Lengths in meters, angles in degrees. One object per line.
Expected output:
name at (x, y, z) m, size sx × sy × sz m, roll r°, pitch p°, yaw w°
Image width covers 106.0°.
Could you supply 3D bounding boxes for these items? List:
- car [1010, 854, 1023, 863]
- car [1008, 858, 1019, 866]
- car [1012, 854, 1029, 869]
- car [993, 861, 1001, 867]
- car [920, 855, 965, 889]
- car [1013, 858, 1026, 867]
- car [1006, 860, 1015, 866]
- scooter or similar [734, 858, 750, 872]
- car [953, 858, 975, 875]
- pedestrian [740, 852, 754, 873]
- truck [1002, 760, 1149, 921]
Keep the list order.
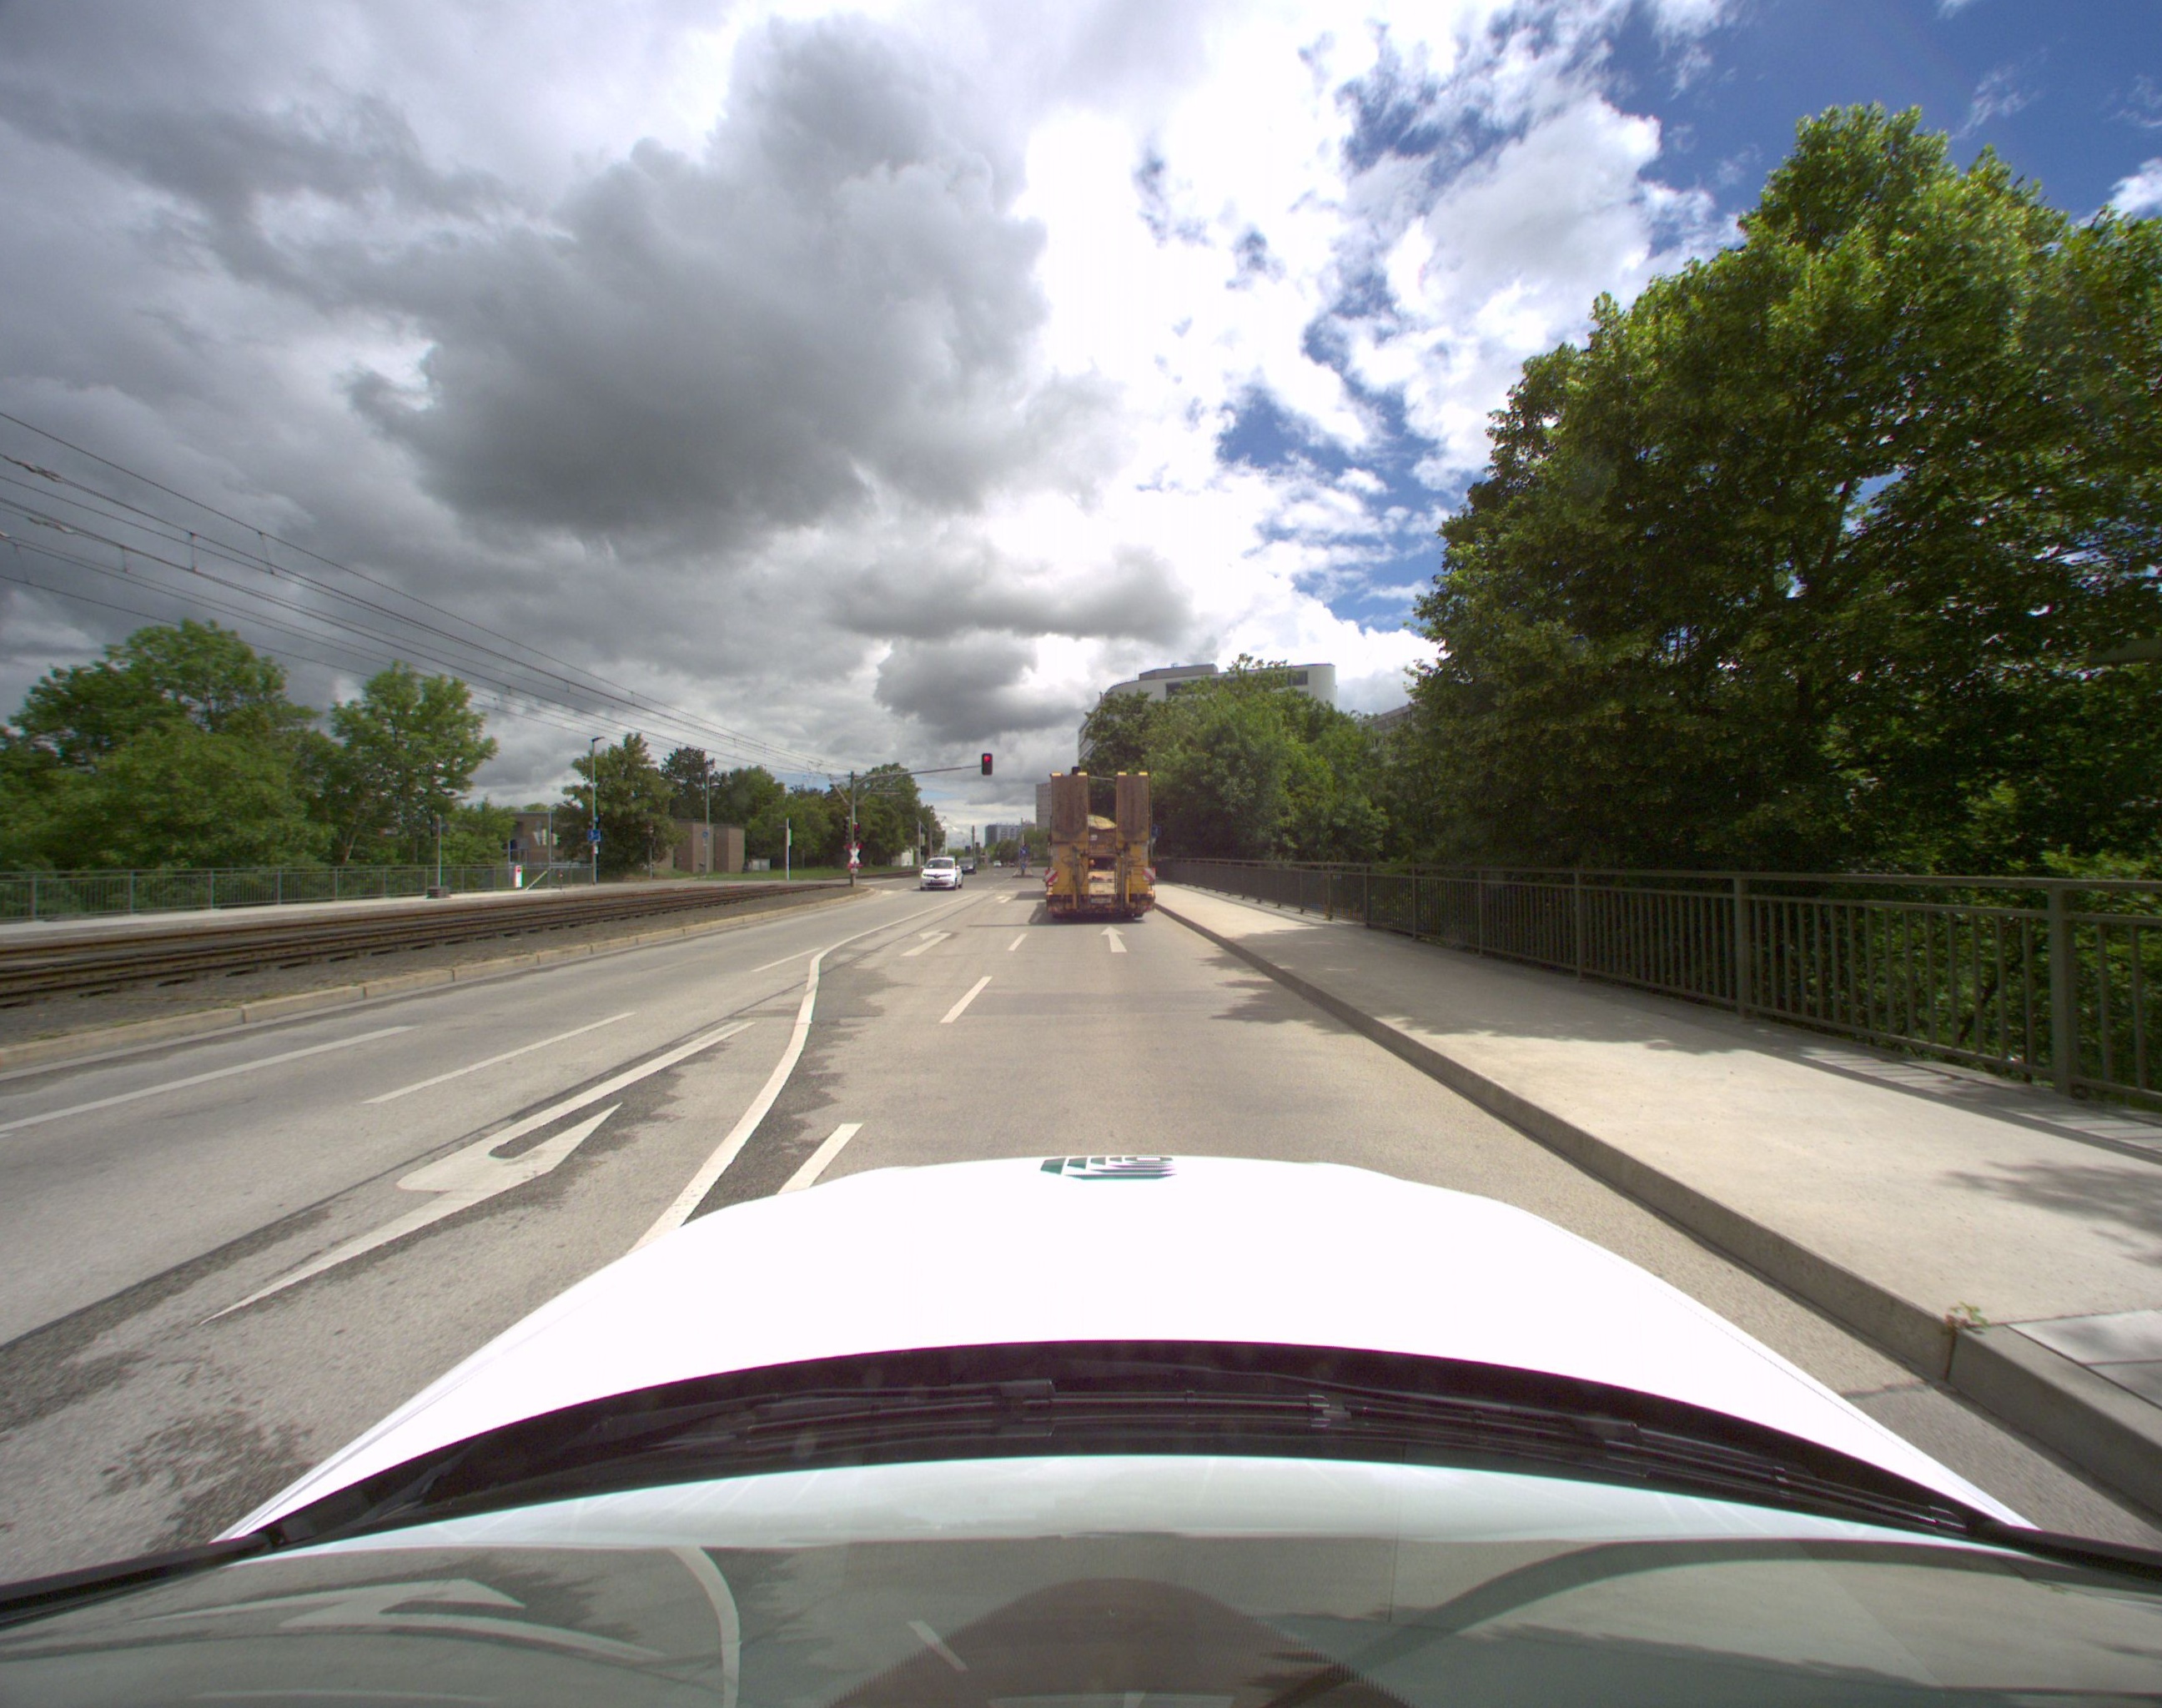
car at (-10.070, 0.665, 127.341) m, size 1.989 × 1.420 × 3.996 m, roll 1°, pitch 0°, yaw -3°
car at (-13.323, 1.620, 161.810) m, size 1.989 × 1.618 × 3.996 m, roll 1°, pitch 0°, yaw -3°
car at (-7.681, 0.937, 104.359) m, size 1.989 × 1.926 × 3.996 m, roll 1°, pitch 0°, yaw -3°
car at (-19.885, 2.300, 192.268) m, size 1.780 × 1.271 × 4.339 m, roll -1°, pitch 0°, yaw -4°
car at (-6.638, 0.846, 39.239) m, size 1.588 × 1.527 × 3.653 m, roll -1°, pitch 0°, yaw -1°
car at (-10.318, 1.481, 137.322) m, size 1.989 × 1.420 × 3.996 m, roll 1°, pitch 0°, yaw -3°
car at (-14.358, 1.826, 166.000) m, size 1.780 × 1.271 × 4.339 m, roll -1°, pitch 0°, yaw -4°
scooter or similar at (-29.400, 0.941, 70.669) m, size 0.888 × 1.184 × 0.972 m, roll 1°, pitch 0°, yaw -1°
car at (-11.090, 1.173, 77.346) m, size 1.780 × 1.570 × 4.339 m, roll -1°, pitch 0°, yaw -4°
pedestrian at (-29.362, 0.720, 71.538) m, size 0.798 × 1.811 × 0.809 m, roll 1°, pitch -1°, yaw 1°
truck at (0.153, -0.275, 24.977) m, size 3.303 × 3.651 × 12.569 m, roll 1°, pitch 0°, yaw 3°
